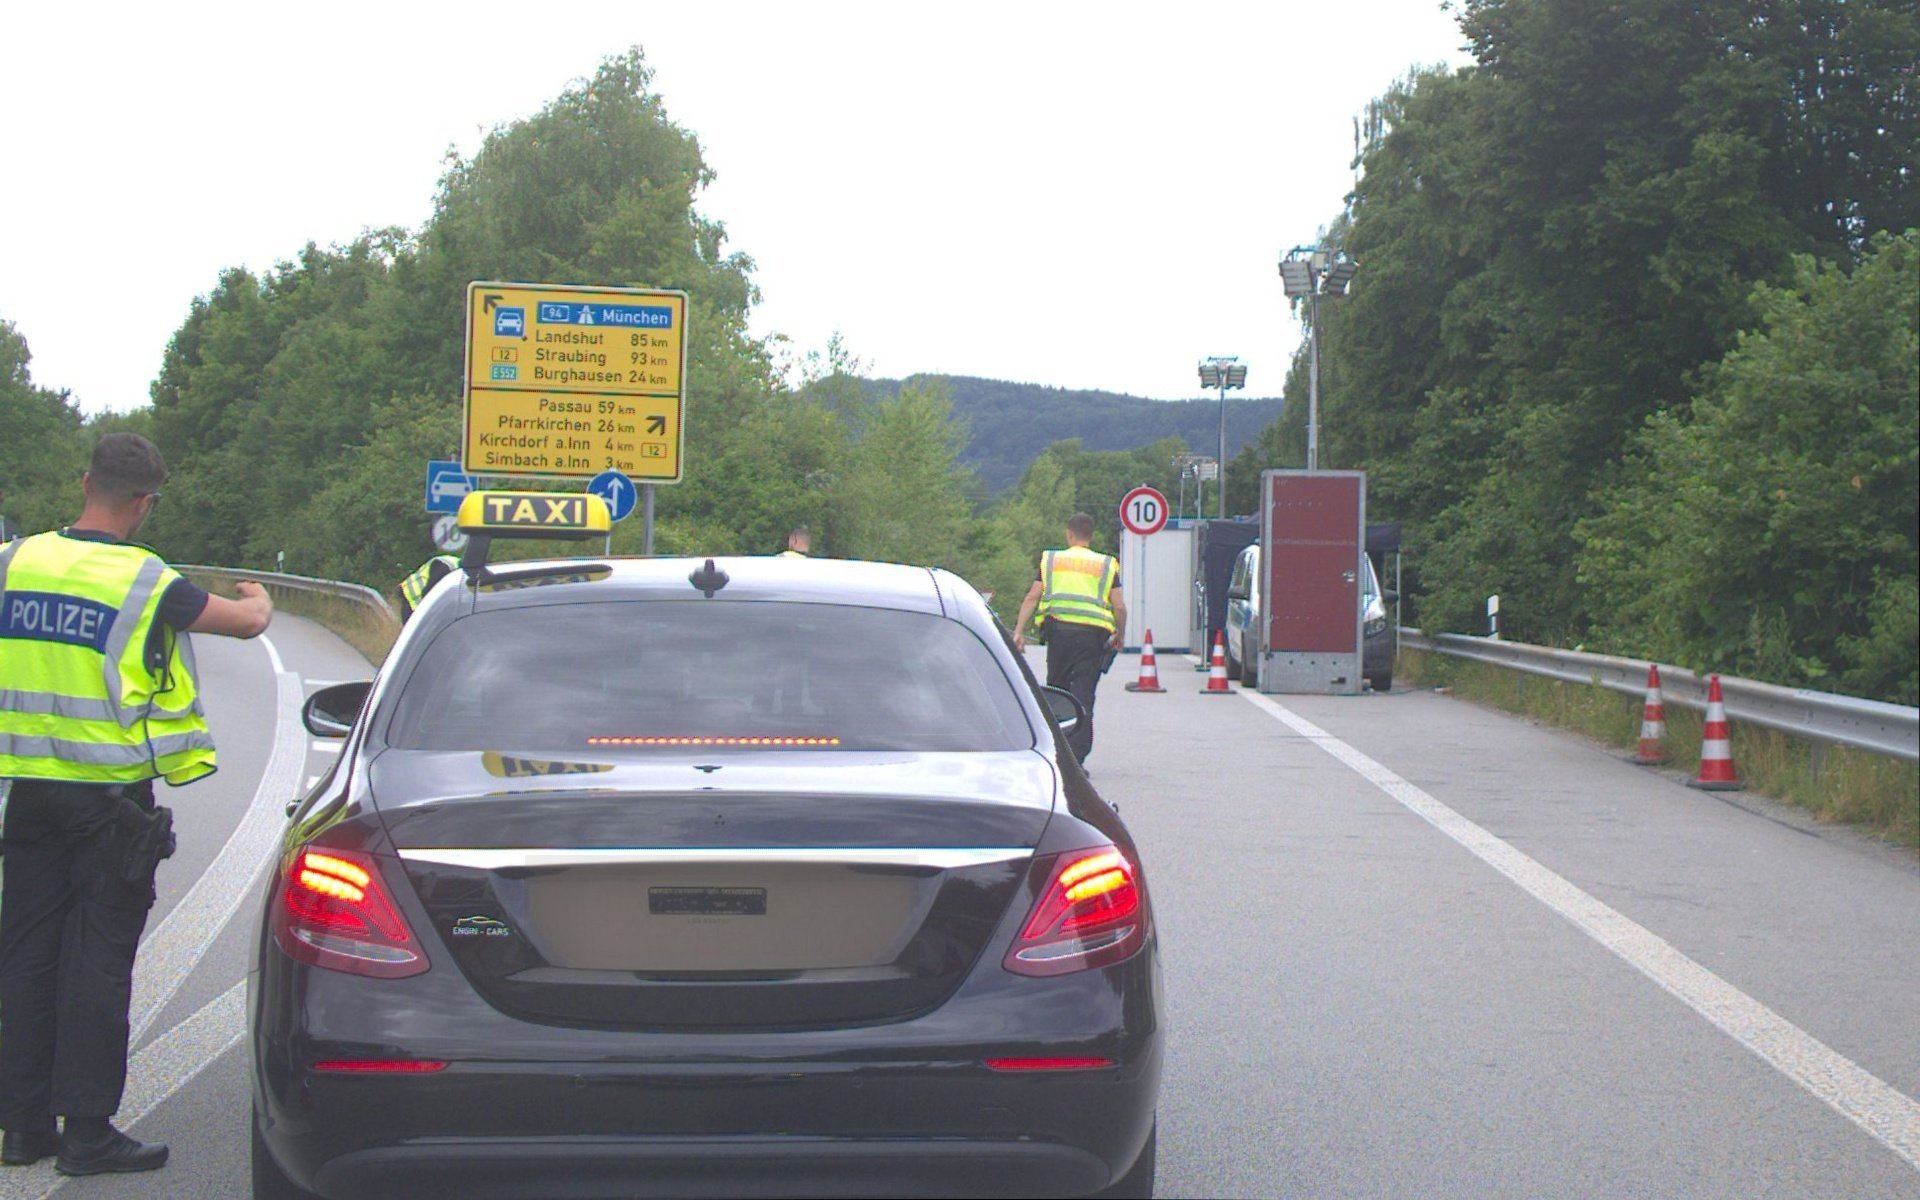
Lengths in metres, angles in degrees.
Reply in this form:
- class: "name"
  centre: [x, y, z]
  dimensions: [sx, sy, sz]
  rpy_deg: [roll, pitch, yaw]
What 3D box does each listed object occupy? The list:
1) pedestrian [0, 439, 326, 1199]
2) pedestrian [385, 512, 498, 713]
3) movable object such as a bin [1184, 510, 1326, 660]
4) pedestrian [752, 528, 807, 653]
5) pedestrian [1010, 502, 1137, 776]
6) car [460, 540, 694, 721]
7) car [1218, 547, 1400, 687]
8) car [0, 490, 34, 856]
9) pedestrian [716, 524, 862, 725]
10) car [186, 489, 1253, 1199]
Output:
- class: "pedestrian"
  centre: [-2.051, 0.498, 8.051]
  dimensions: [0.761, 1.712, 0.816]
  rpy_deg: [1, 1, 37]
- class: "pedestrian"
  centre: [-4.631, 0.107, 30.767]
  dimensions: [0.910, 1.763, 0.912]
  rpy_deg: [1, 1, -3]
- class: "movable object such as a bin"
  centre: [4.643, -0.257, 54.623]
  dimensions: [1.993, 2.272, 4.168]
  rpy_deg: [1, 1, 2]
- class: "pedestrian"
  centre: [-2.842, -0.153, 54.126]
  dimensions: [0.664, 1.954, 0.759]
  rpy_deg: [0, 1, 15]
- class: "pedestrian"
  centre: [0.777, 0.256, 23.328]
  dimensions: [0.812, 1.824, 0.809]
  rpy_deg: [0, 1, 5]
- class: "car"
  centre: [-3.351, 0.221, 30.770]
  dimensions: [1.855, 1.493, 4.257]
  rpy_deg: [0, 1, -3]
- class: "car"
  centre: [4.584, 0.175, 45.784]
  dimensions: [1.916, 1.672, 5.083]
  rpy_deg: [2, 1, 1]
- class: "car"
  centre: [-5.391, 0.360, 15.060]
  dimensions: [1.868, 1.737, 4.009]
  rpy_deg: [0, 1, -4]
- class: "pedestrian"
  centre: [-1.476, 0.204, 29.614]
  dimensions: [0.908, 1.692, 0.914]
  rpy_deg: [0, 0, -32]
- class: "car"
  centre: [-0.610, 0.571, 8.199]
  dimensions: [1.855, 1.589, 4.376]
  rpy_deg: [0, 1, -5]
